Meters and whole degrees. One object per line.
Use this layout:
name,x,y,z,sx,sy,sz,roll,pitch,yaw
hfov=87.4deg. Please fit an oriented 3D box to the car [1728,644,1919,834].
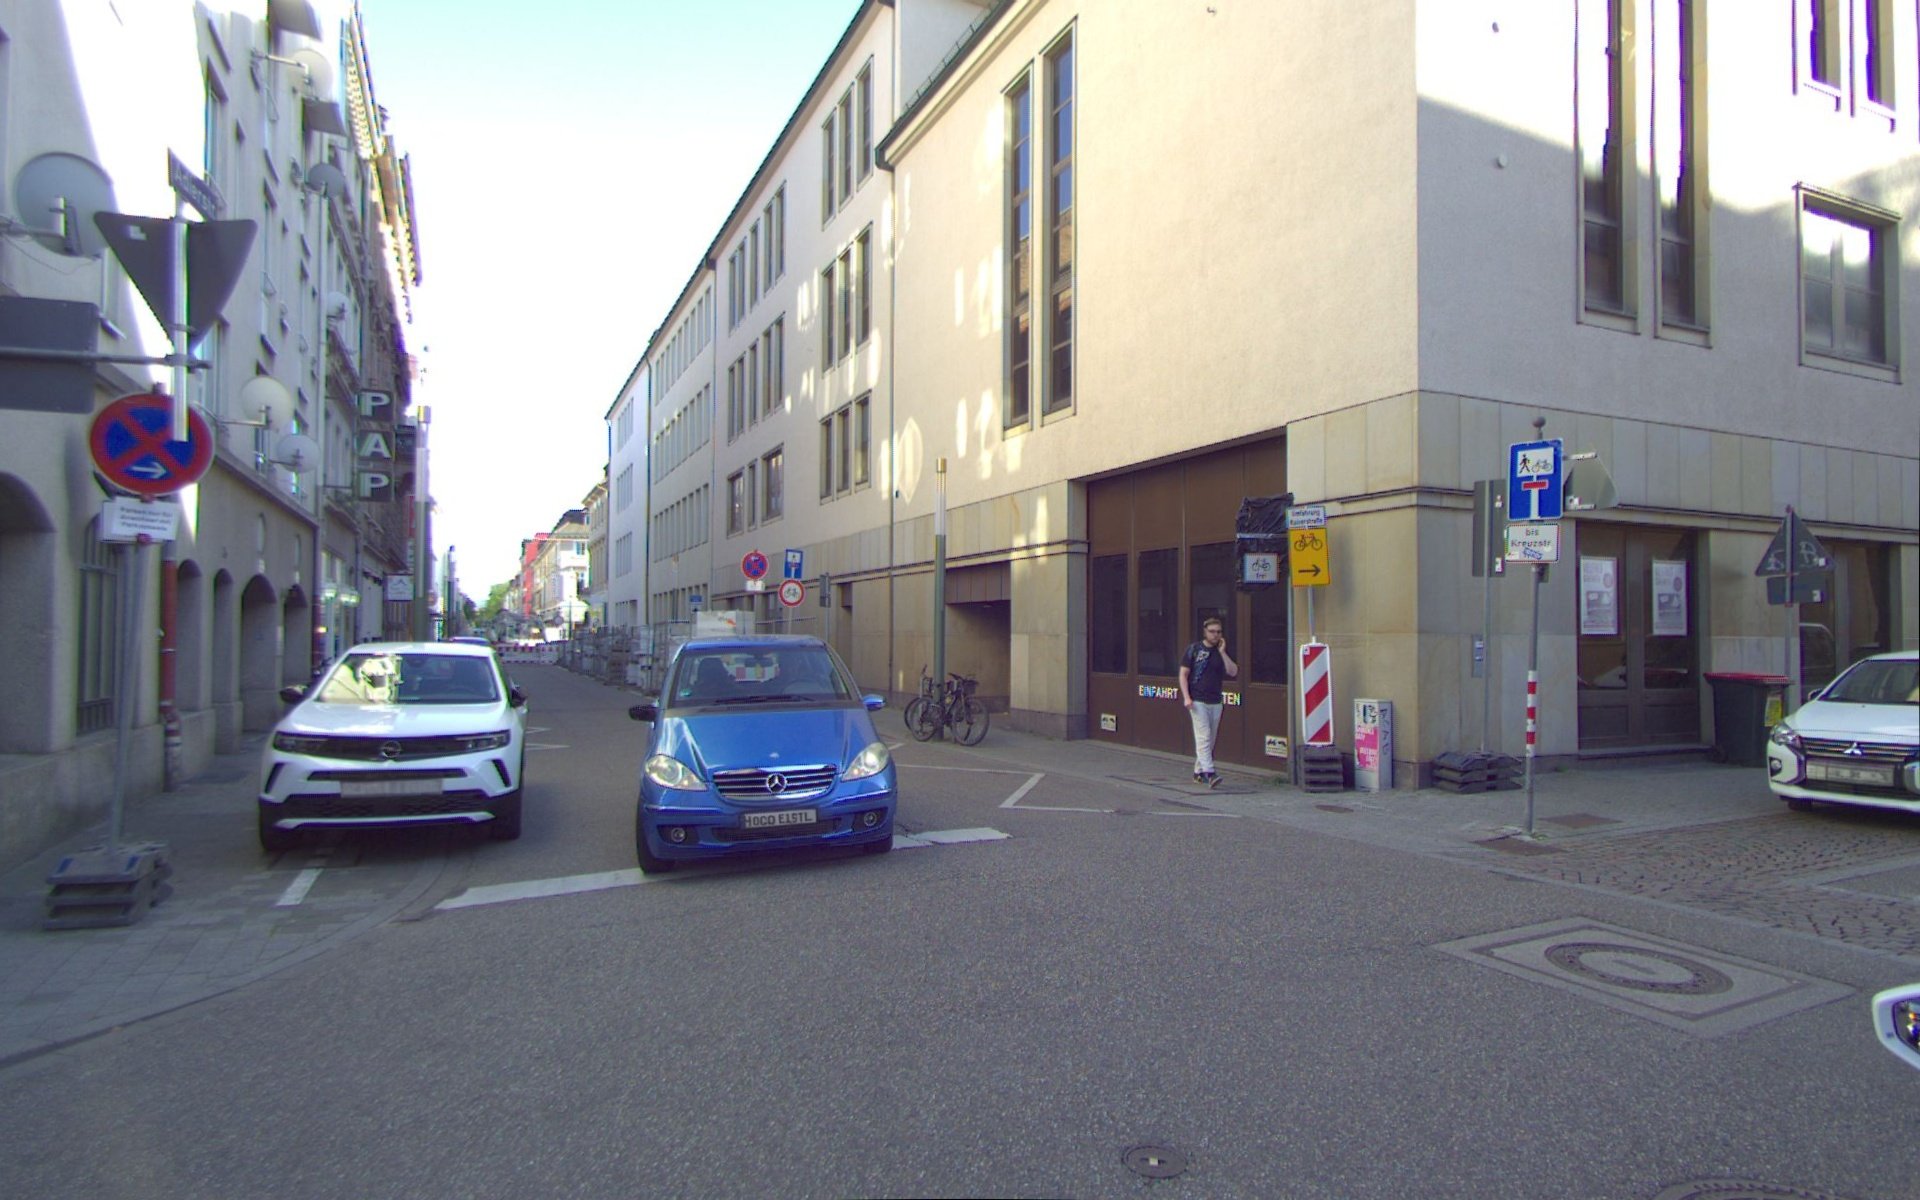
car,9.110,1.170,9.291,3.751,1.511,1.731,1,-4,-28

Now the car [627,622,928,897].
car,-1.709,1.041,8.170,1.828,1.614,3.790,-1,-2,-19

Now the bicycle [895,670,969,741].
bicycle,-0.481,1.702,16.421,0.300,1.064,1.524,1,-2,-42

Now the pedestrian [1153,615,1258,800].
pedestrian,2.638,1.130,10.821,0.710,1.878,0.853,3,-4,-37

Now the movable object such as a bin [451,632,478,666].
movable object such as a bin,-23.673,2.335,47.961,1.071,1.564,0.901,3,-3,-29

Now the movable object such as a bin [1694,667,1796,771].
movable object such as a bin,9.138,1.360,11.703,0.583,1.115,0.734,2,0,-25

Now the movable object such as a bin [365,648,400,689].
movable object such as a bin,-16.011,1.890,27.850,0.828,1.062,0.748,2,0,-31

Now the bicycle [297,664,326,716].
bicycle,-11.889,1.634,18.420,0.215,0.869,1.060,2,0,-21

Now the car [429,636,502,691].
car,-15.172,1.909,30.738,1.772,1.545,3.970,3,-3,-29

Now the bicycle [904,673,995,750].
bicycle,-0.185,1.685,15.426,0.300,1.064,1.770,1,-2,-42

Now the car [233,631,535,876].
car,-4.717,1.112,8.803,1.718,1.614,3.949,2,-3,-22
